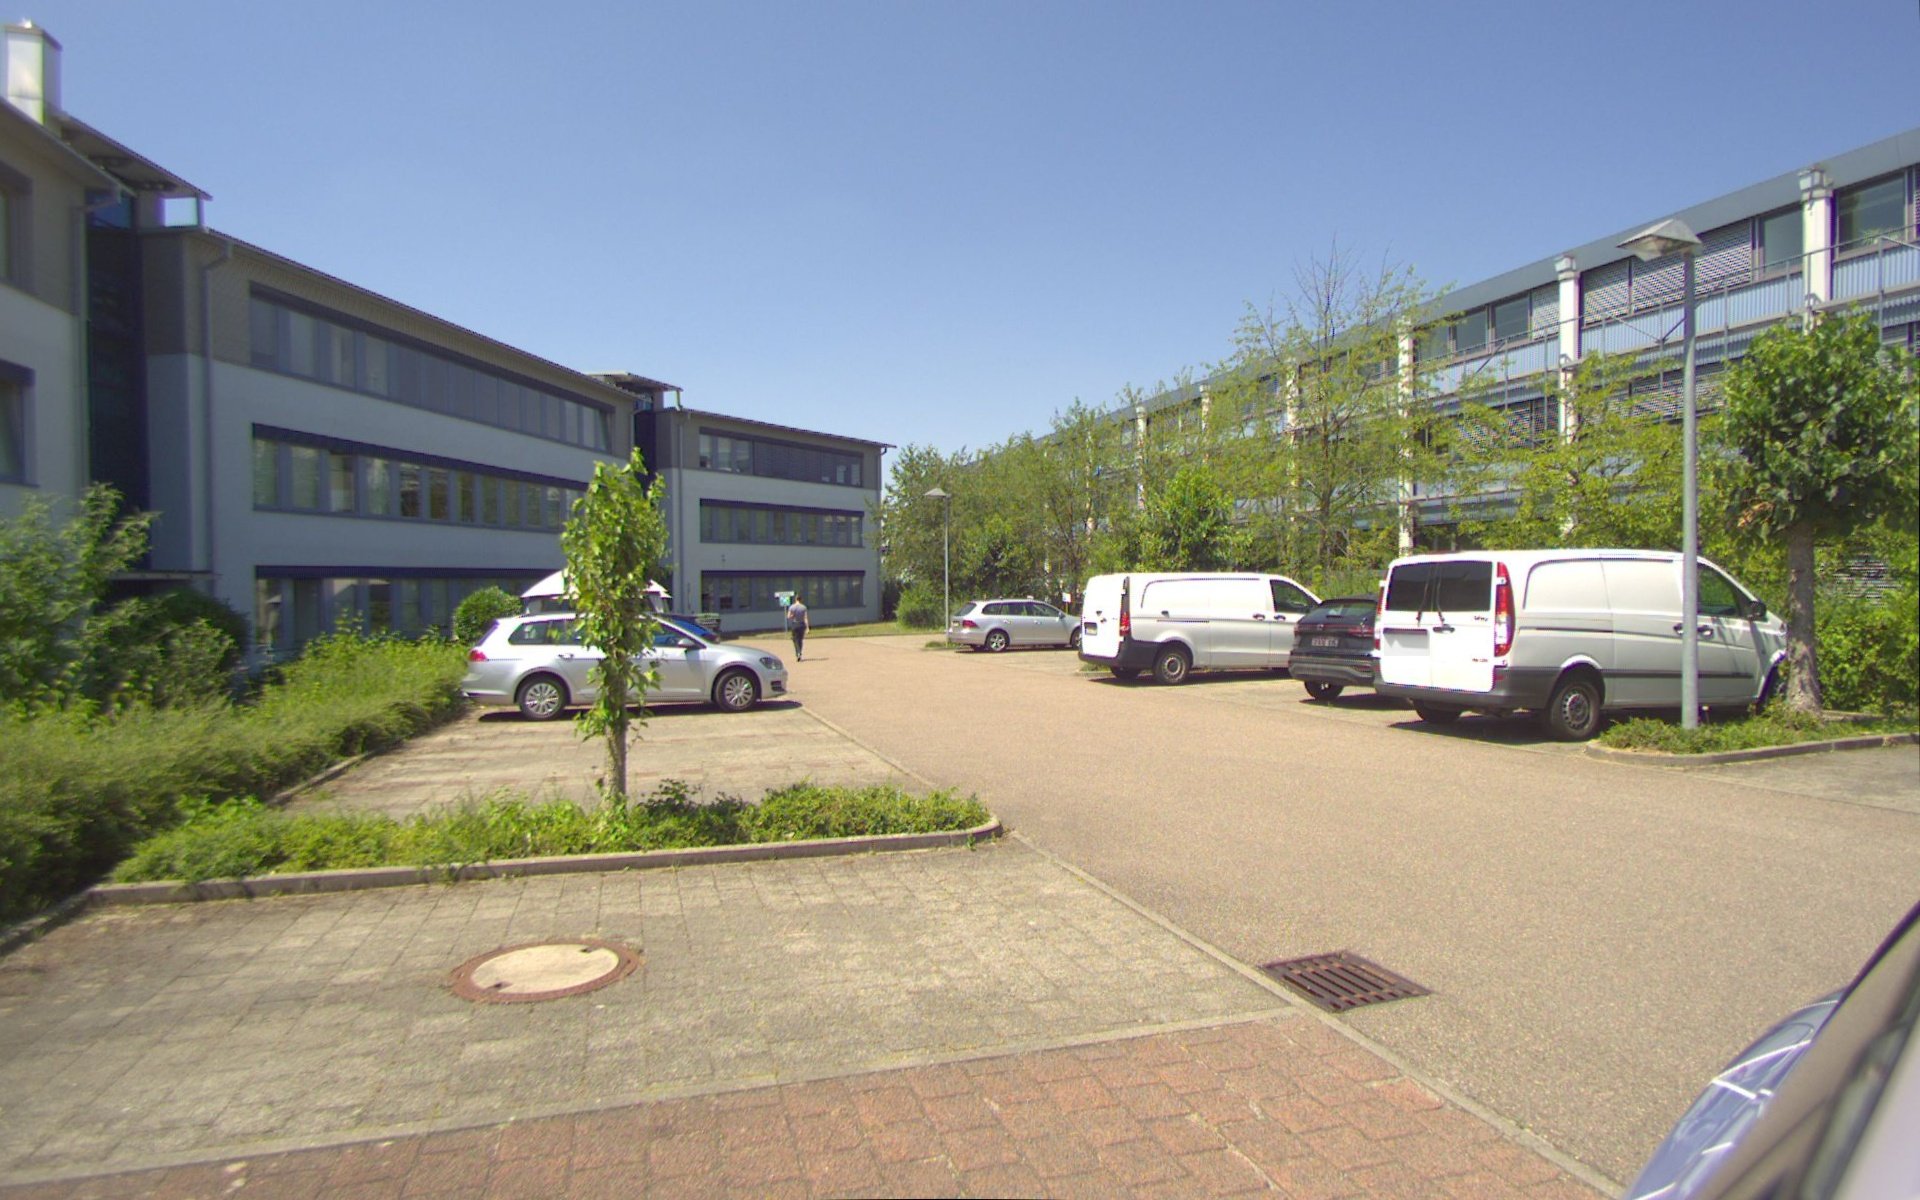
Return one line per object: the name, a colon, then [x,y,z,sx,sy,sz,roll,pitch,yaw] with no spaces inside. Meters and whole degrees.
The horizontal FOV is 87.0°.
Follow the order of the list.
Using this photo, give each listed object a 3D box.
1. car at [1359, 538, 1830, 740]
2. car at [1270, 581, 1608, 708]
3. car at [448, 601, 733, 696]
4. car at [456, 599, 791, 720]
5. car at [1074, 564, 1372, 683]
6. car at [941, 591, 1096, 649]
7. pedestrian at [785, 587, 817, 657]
car: [6.905,0.329,11.067,4.579,1.883,1.872,-1,0,-19]
car: [6.538,0.538,13.859,4.110,1.503,1.743,-1,0,-19]
car: [-6.441,0.782,17.981,4.515,1.513,1.860,0,0,-19]
car: [-4.772,0.777,14.694,4.334,1.539,1.860,0,0,-19]
car: [4.643,0.362,17.992,4.831,1.879,1.860,-1,0,-17]
car: [1.621,0.529,28.604,3.999,1.503,1.743,-1,0,-16]
pedestrian: [-4.154,0.570,26.452,0.684,1.779,0.778,-2,1,-15]
